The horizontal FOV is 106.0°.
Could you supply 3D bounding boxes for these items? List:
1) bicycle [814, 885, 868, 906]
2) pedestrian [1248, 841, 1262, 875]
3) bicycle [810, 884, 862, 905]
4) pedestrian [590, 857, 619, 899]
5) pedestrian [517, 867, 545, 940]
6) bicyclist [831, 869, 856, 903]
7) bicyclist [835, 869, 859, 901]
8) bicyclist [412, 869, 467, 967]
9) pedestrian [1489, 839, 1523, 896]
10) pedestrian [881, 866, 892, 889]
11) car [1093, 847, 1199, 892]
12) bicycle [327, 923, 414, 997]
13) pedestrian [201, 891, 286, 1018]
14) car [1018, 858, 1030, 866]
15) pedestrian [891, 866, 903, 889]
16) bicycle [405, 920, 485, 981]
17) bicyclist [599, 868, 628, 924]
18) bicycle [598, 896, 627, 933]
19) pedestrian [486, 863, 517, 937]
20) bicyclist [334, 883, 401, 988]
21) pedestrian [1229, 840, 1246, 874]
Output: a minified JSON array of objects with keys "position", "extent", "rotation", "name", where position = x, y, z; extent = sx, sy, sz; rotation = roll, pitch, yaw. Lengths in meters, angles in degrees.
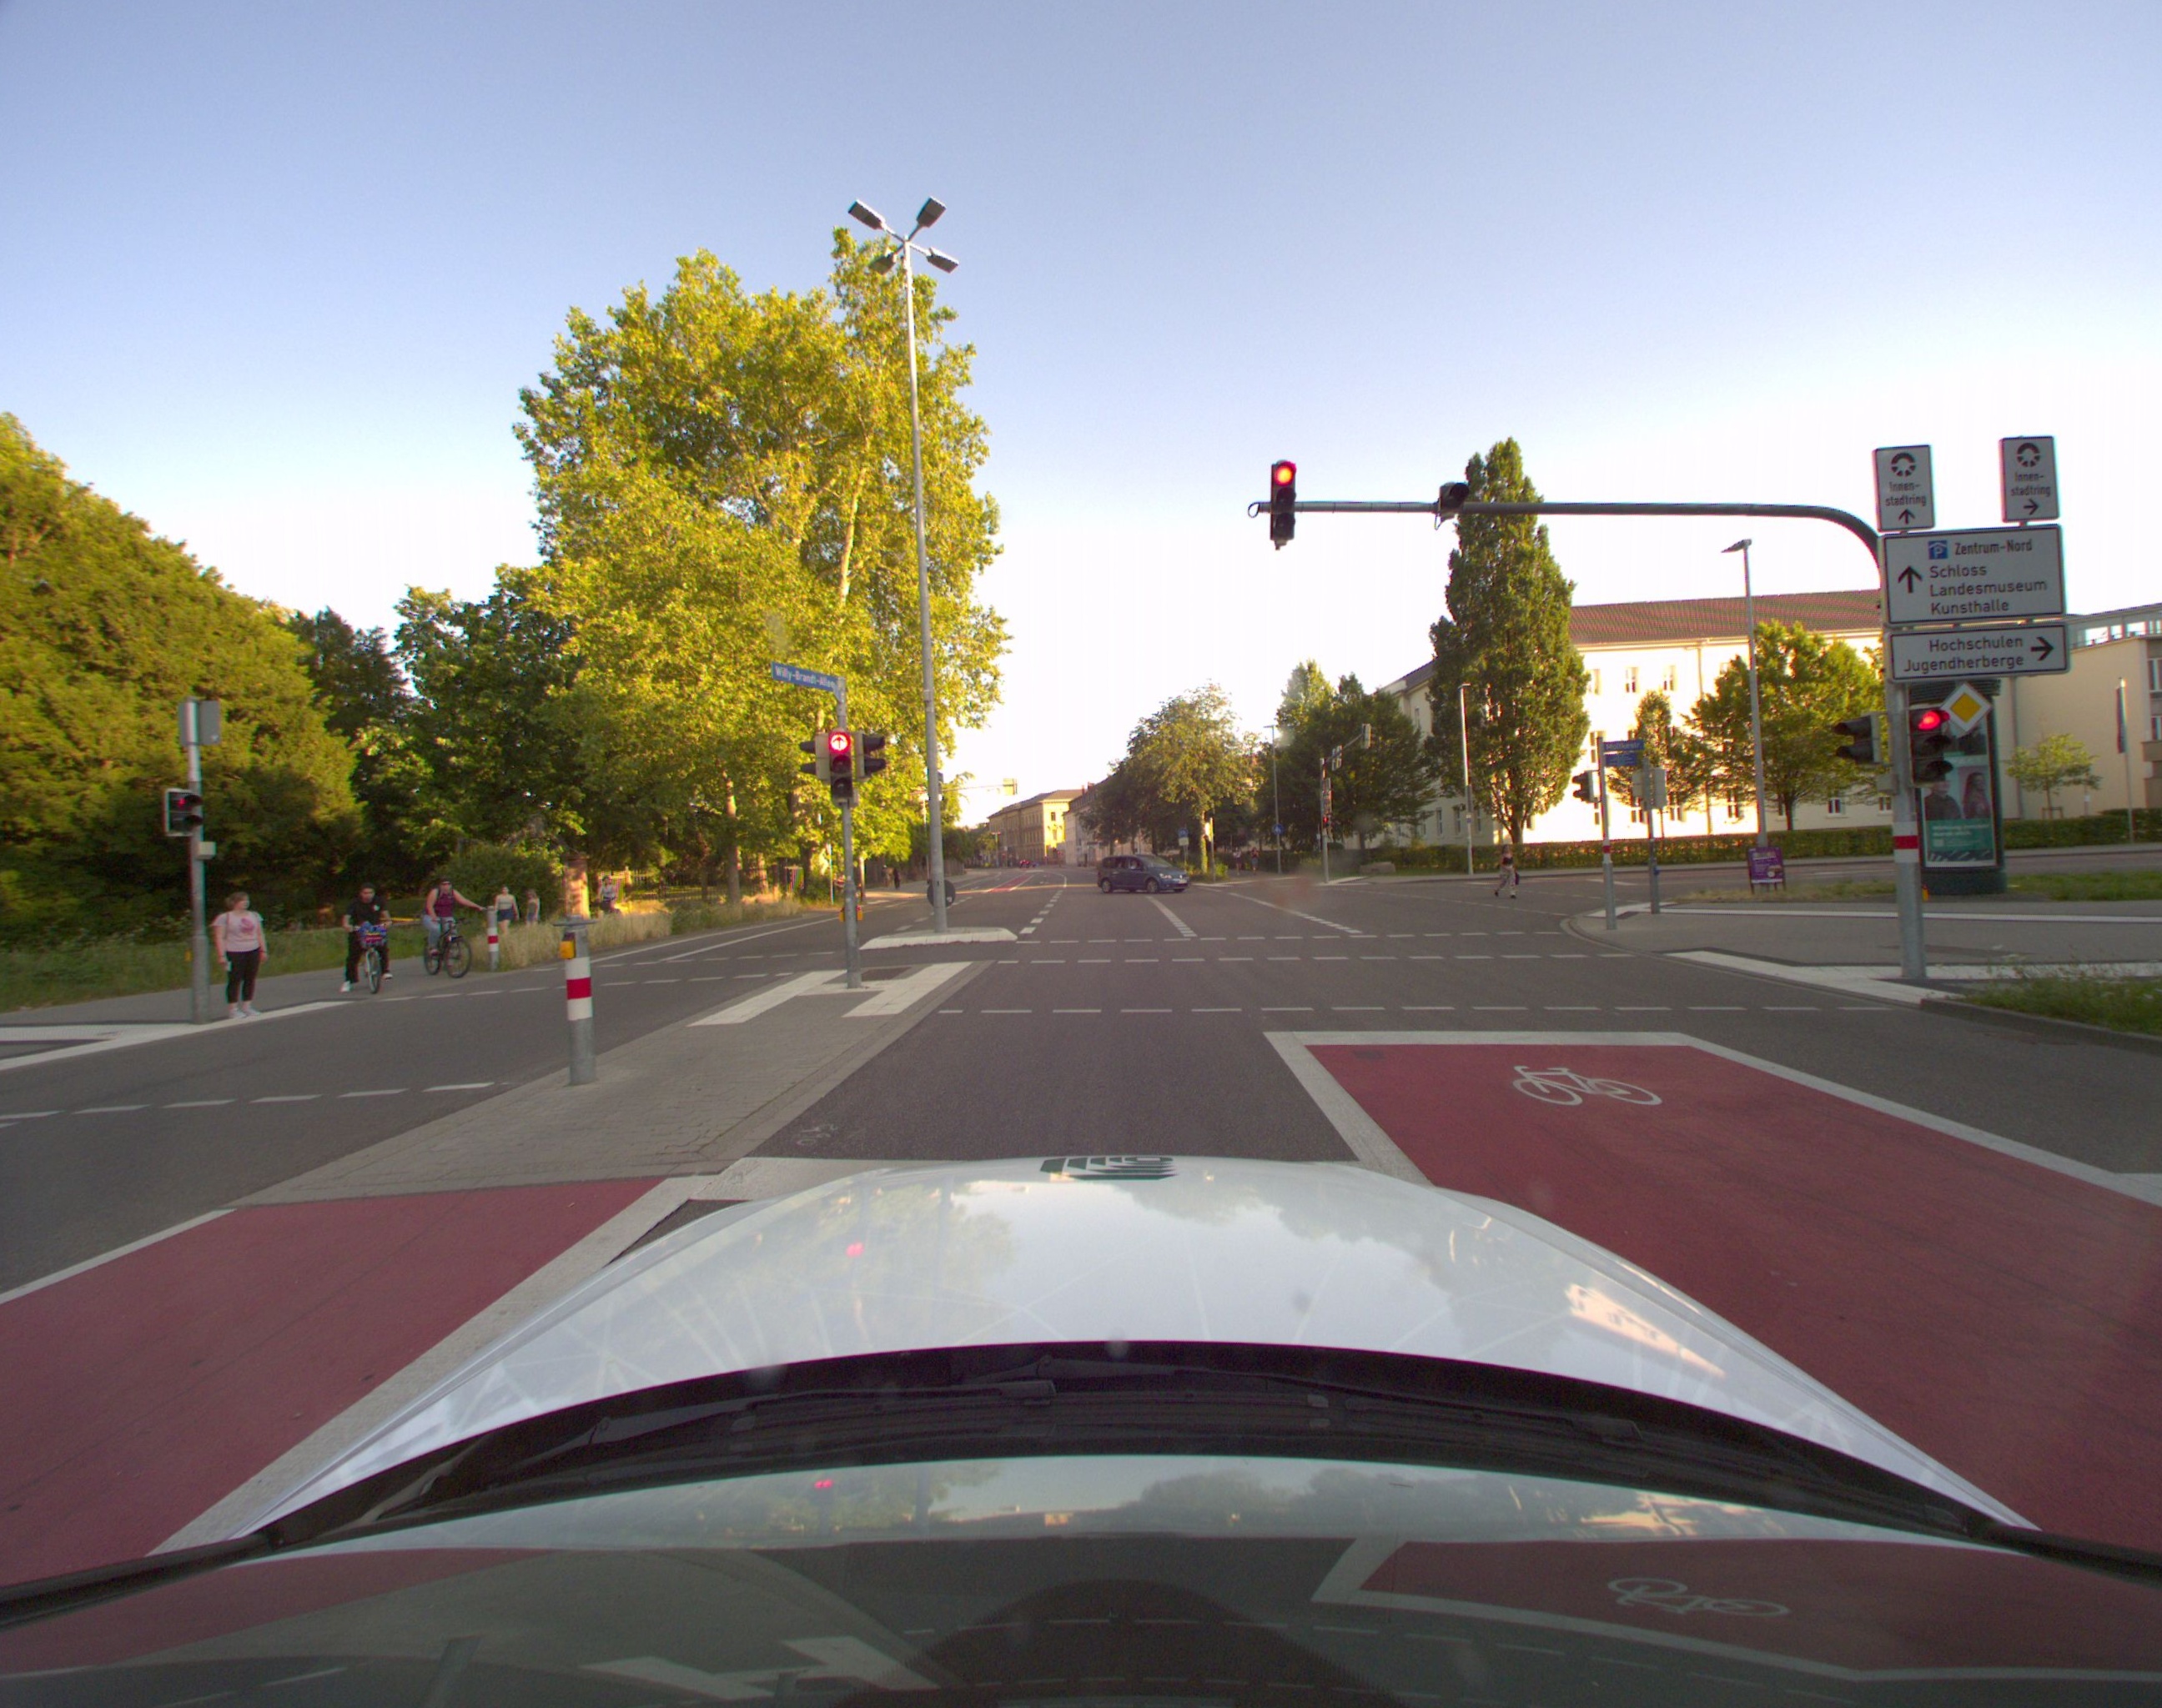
[{"position":[-11.987,2.078,40.683],"extent":[2.420,0.924,0.775],"rotation":[-3,0,2],"name":"bicycle"},{"position":[10.377,0.220,48.536],"extent":[0.633,2.014,0.720],"rotation":[-2,-1,-2],"name":"pedestrian"},{"position":[-12.802,2.124,42.545],"extent":[2.420,0.924,0.775],"rotation":[-3,0,2],"name":"bicycle"},{"position":[-23.211,1.153,39.677],"extent":[0.759,2.014,1.075],"rotation":[-2,-1,-5],"name":"pedestrian"},{"position":[-15.646,1.388,23.164],"extent":[0.598,2.014,0.634],"rotation":[-1,-1,-38],"name":"pedestrian"},{"position":[-11.859,1.583,40.684],"extent":[0.954,1.631,0.753],"rotation":[-3,0,2],"name":"bicyclist"},{"position":[-12.227,1.605,42.534],"extent":[0.954,1.631,0.753],"rotation":[-3,0,2],"name":"bicyclist"},{"position":[-12.026,1.184,15.266],"extent":[0.631,1.780,0.580],"rotation":[-3,-1,32],"name":"bicyclist"},{"position":[12.304,0.385,23.604],"extent":[0.597,1.636,0.692],"rotation":[-2,0,3],"name":"pedestrian"},{"position":[-13.846,1.672,57.879],"extent":[0.533,1.596,0.591],"rotation":[-3,0,1],"name":"pedestrian"},{"position":[2.646,0.684,34.125],"extent":[1.866,1.720,4.243],"rotation":[-2,0,-42],"name":"car"},{"position":[-11.797,1.726,13.514],"extent":[1.548,1.111,0.637],"rotation":[-3,-1,32],"name":"bicycle"},{"position":[-11.774,1.399,11.460],"extent":[0.604,1.695,0.499],"rotation":[-3,0,3],"name":"pedestrian"},{"position":[-11.958,1.746,170.240],"extent":[1.821,1.588,3.983],"rotation":[-4,0,-12],"name":"car"},{"position":[-13.088,1.652,57.847],"extent":[0.597,1.573,0.646],"rotation":[-3,0,1],"name":"pedestrian"},{"position":[-11.854,1.762,15.164],"extent":[1.749,1.030,0.583],"rotation":[-3,0,32],"name":"bicycle"},{"position":[-15.022,1.327,26.145],"extent":[0.760,1.728,0.935],"rotation":[-1,-1,-31],"name":"bicyclist"},{"position":[-15.013,1.909,26.116],"extent":[0.744,1.033,2.275],"rotation":[-1,0,-29],"name":"bicycle"},{"position":[-16.231,1.273,22.799],"extent":[0.654,2.014,0.599],"rotation":[-1,-1,-37],"name":"pedestrian"},{"position":[-11.891,1.338,13.570],"extent":[0.631,1.649,0.634],"rotation":[-3,-1,32],"name":"bicyclist"},{"position":[9.469,0.184,49.206],"extent":[0.867,2.014,0.723],"rotation":[-2,-1,1],"name":"pedestrian"}]
